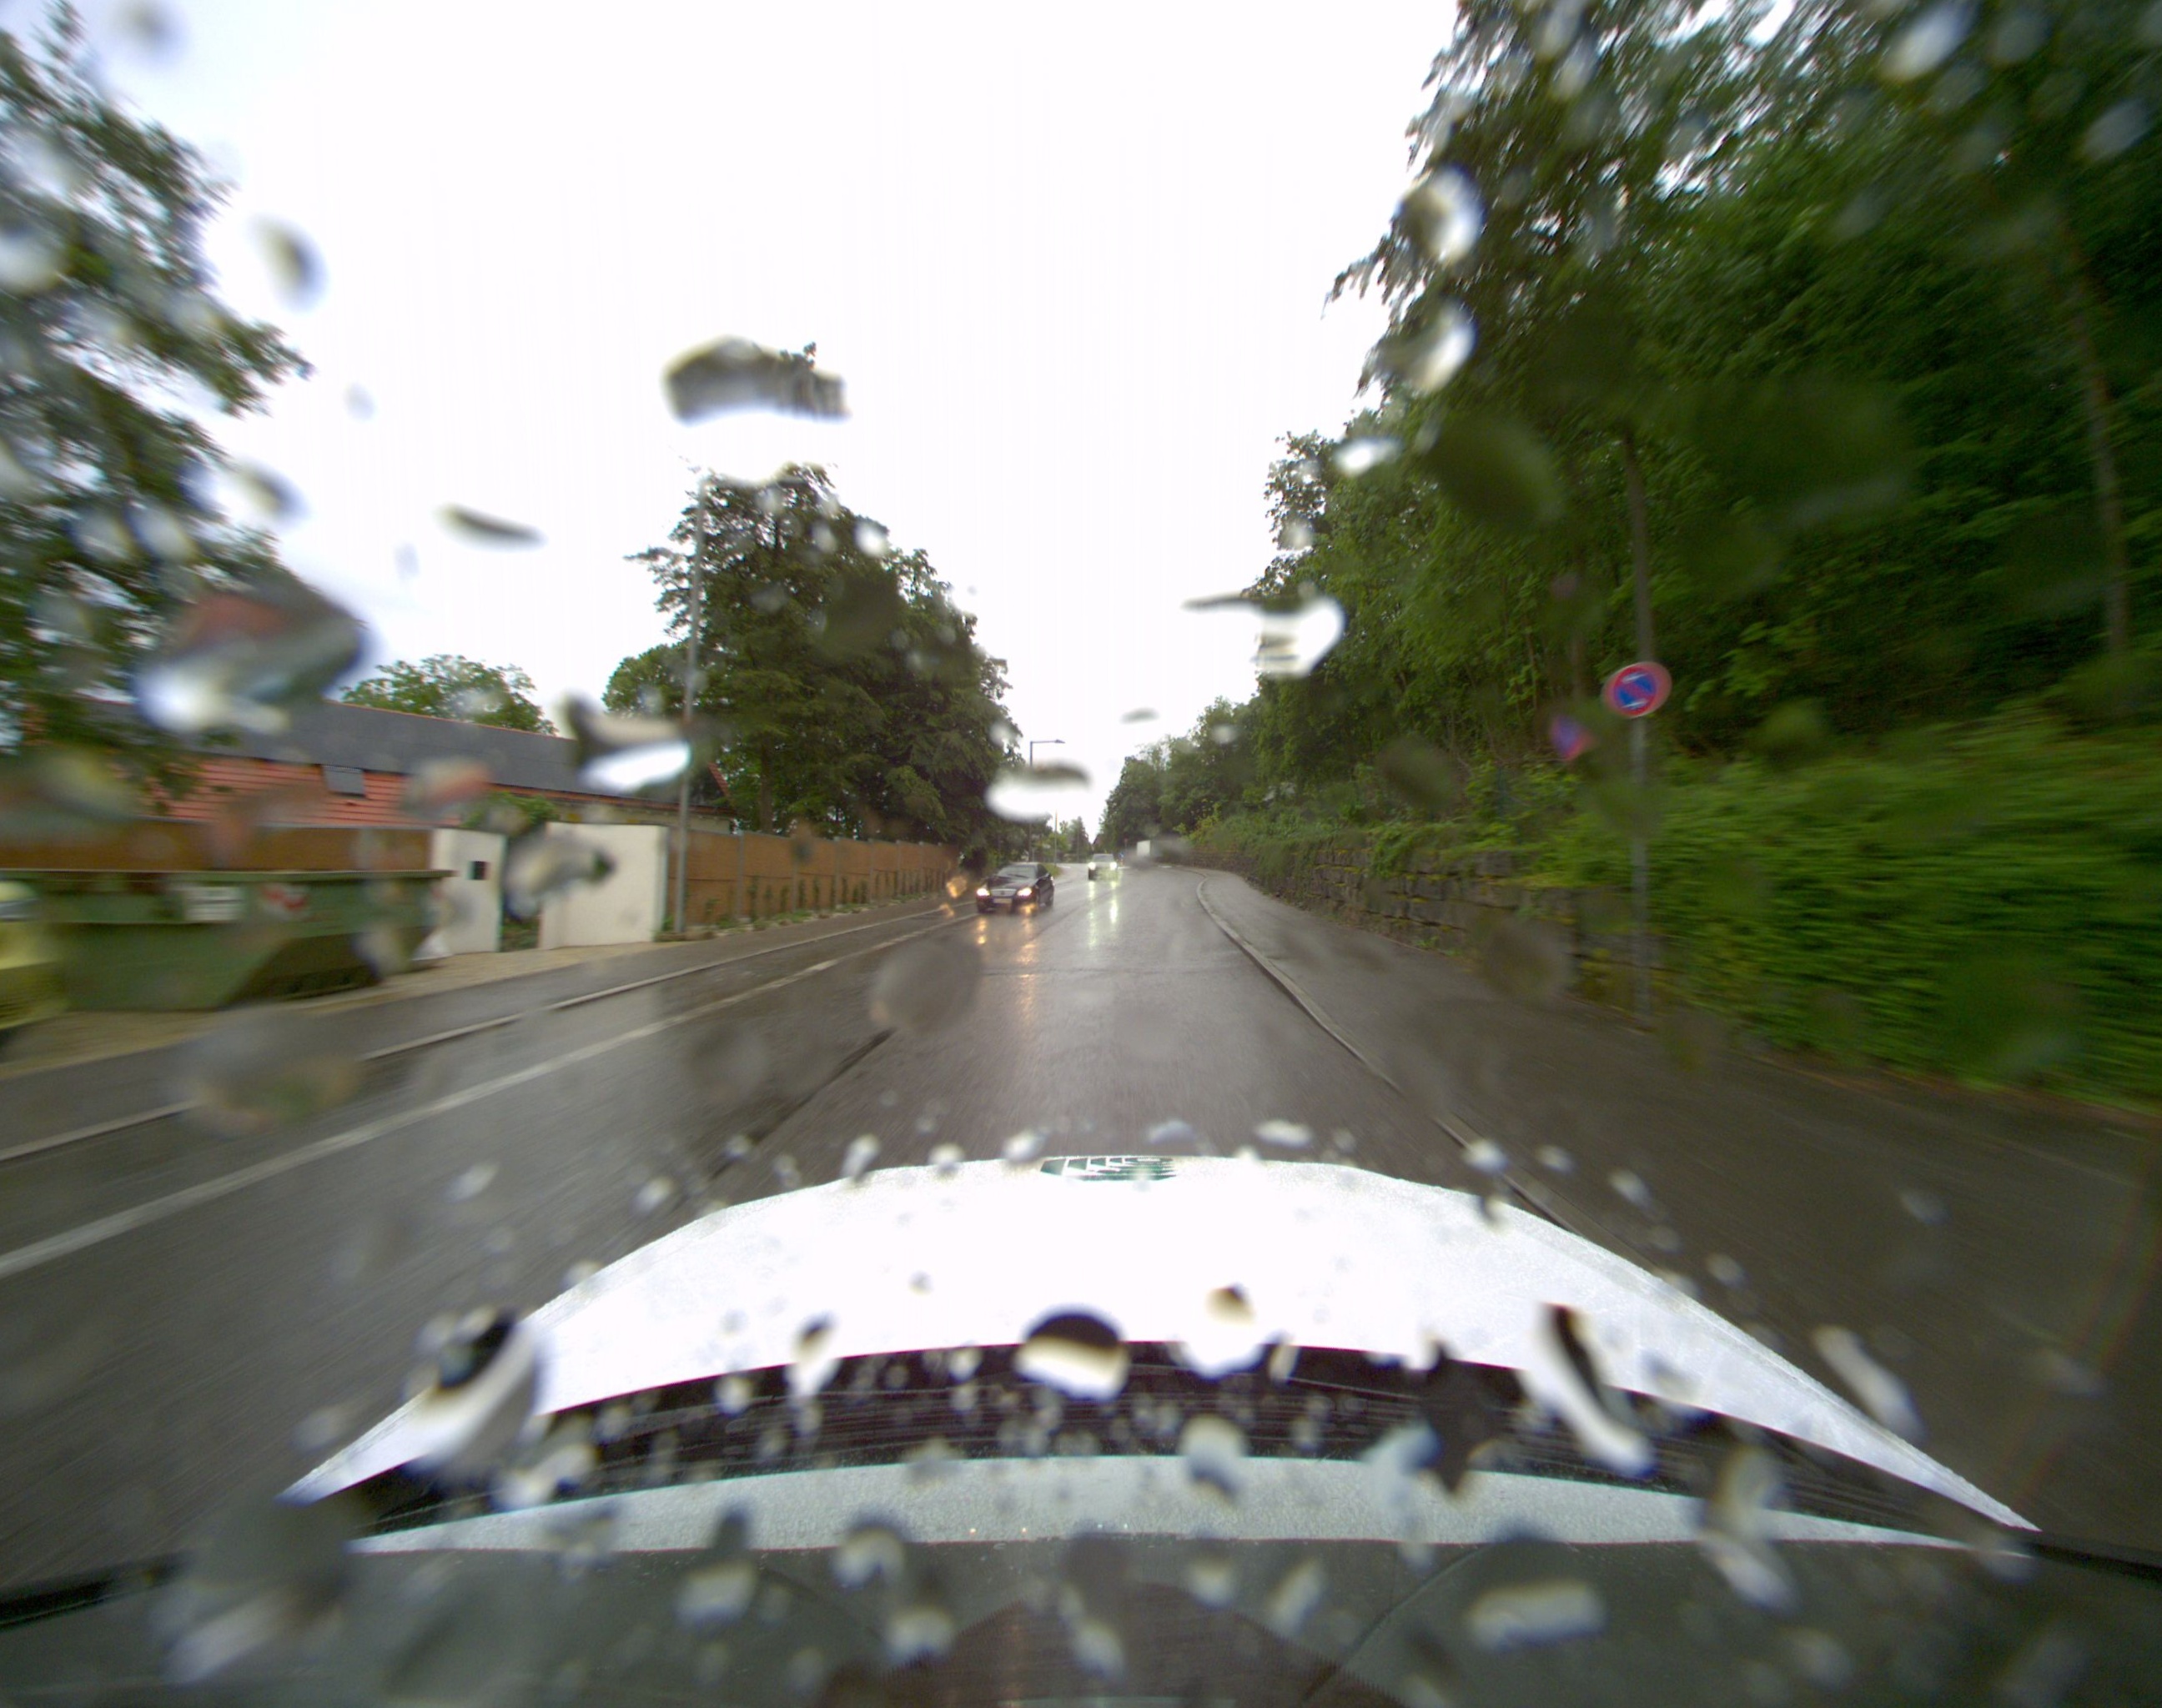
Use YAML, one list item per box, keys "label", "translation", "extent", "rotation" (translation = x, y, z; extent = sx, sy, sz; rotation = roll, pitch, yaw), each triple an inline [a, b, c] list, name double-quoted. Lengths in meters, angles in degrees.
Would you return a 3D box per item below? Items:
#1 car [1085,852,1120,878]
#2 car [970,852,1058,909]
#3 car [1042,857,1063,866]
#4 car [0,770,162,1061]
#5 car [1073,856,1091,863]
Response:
- label: "car"
  translation: [1.511, 0.744, 55.596]
  extent: [1.908, 1.648, 4.555]
  rotation: [-1, 0, 7]
- label: "car"
  translation: [-1.887, 0.723, 24.151]
  extent: [1.825, 1.511, 4.176]
  rotation: [0, 0, 6]
- label: "car"
  translation: [-5.774, 1.583, 163.936]
  extent: [2.025, 1.632, 3.952]
  rotation: [5, -2, -44]
- label: "car"
  translation: [-9.178, 0.392, 5.190]
  extent: [4.482, 1.859, 2.092]
  rotation: [0, 0, 5]
- label: "car"
  translation: [0.149, 1.227, 172.380]
  extent: [1.946, 1.389, 3.962]
  rotation: [5, -2, -30]
